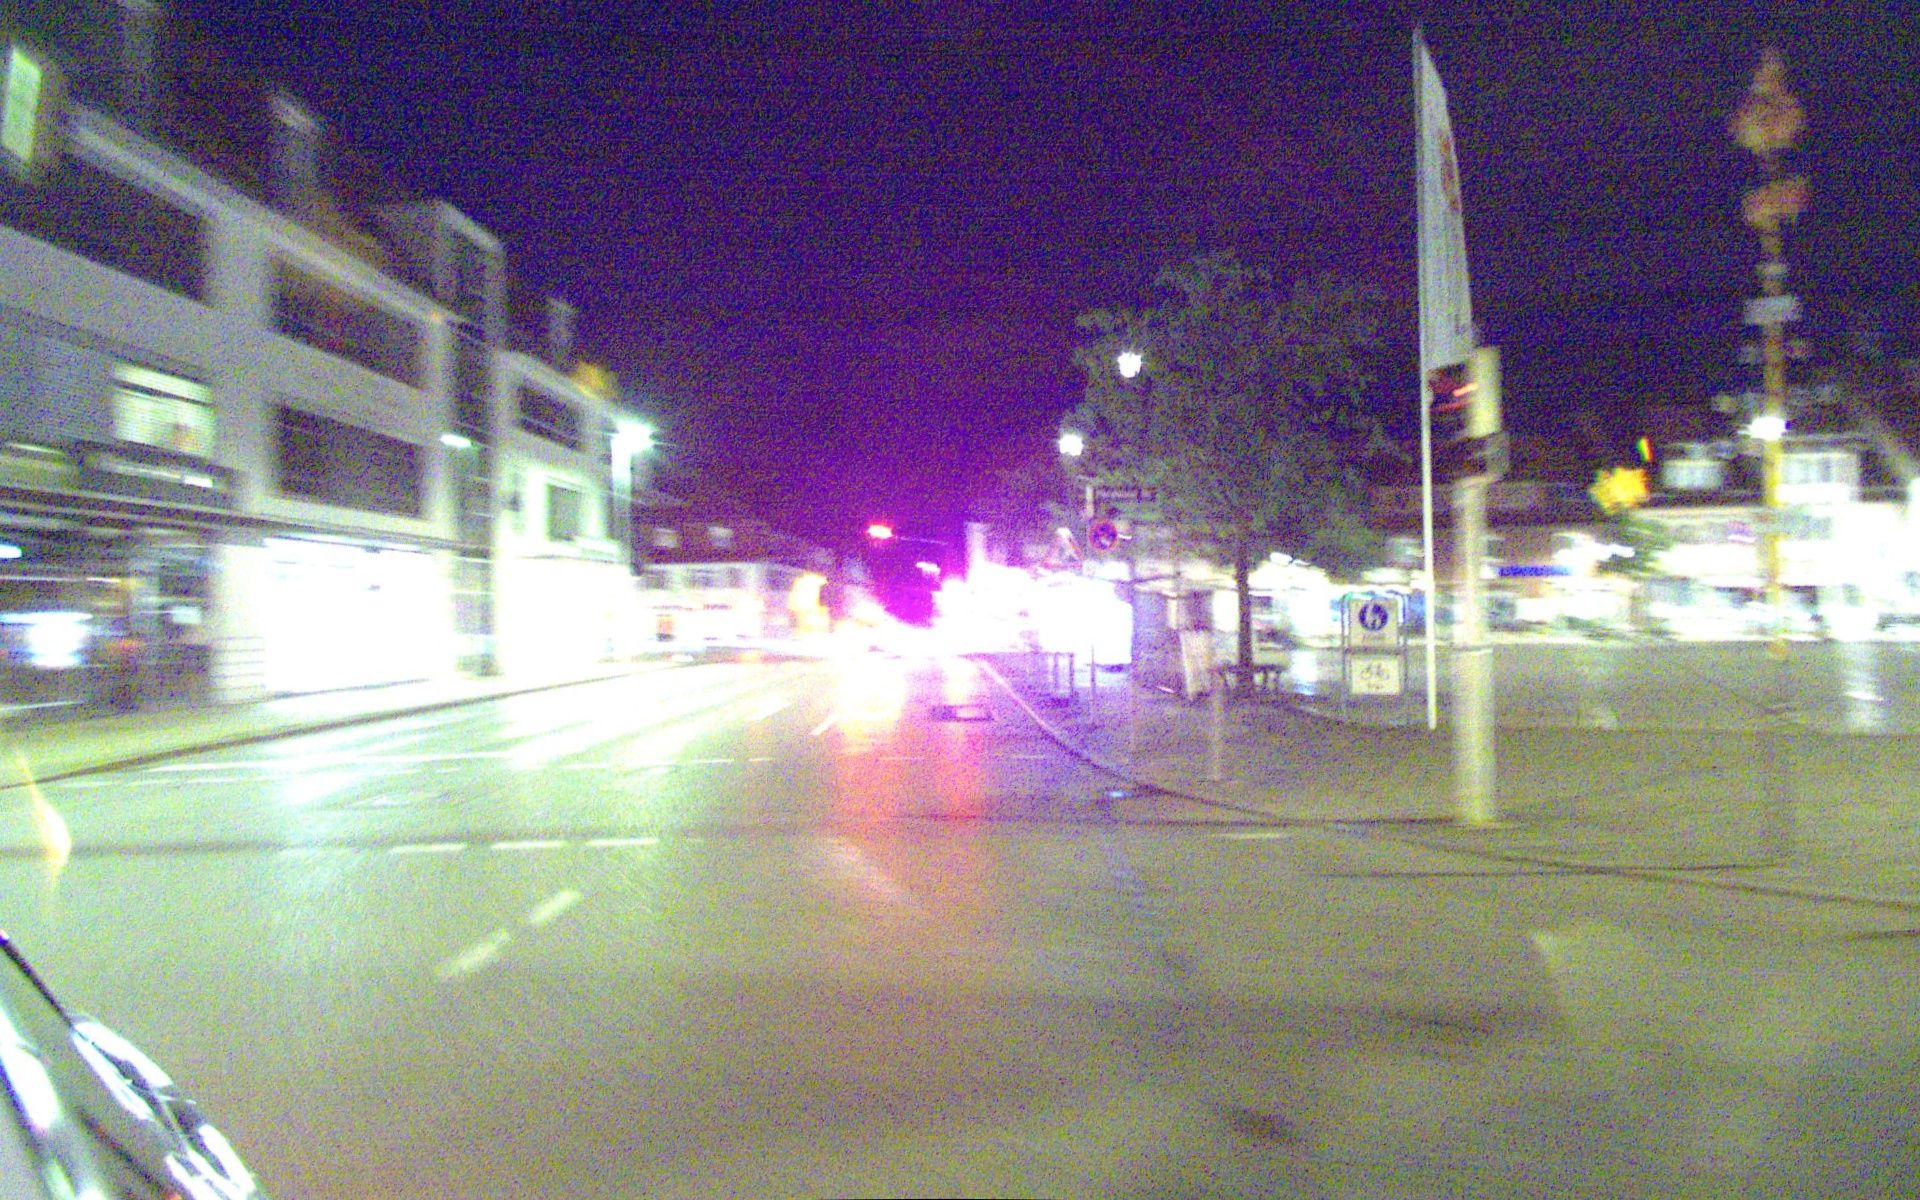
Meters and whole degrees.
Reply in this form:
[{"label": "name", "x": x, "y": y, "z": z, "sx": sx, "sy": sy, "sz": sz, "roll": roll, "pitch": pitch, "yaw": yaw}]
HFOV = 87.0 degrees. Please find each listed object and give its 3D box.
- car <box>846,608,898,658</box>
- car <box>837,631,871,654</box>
[{"label": "car", "x": -3.692, "y": 1.402, "z": 43.209, "sx": 1.932, "sy": 1.951, "sz": 4.420, "roll": -3, "pitch": -2, "yaw": -2}, {"label": "car", "x": -8.103, "y": 3.259, "z": 77.580, "sx": 1.974, "sy": 1.583, "sz": 3.996, "roll": -3, "pitch": -2, "yaw": 3}]
